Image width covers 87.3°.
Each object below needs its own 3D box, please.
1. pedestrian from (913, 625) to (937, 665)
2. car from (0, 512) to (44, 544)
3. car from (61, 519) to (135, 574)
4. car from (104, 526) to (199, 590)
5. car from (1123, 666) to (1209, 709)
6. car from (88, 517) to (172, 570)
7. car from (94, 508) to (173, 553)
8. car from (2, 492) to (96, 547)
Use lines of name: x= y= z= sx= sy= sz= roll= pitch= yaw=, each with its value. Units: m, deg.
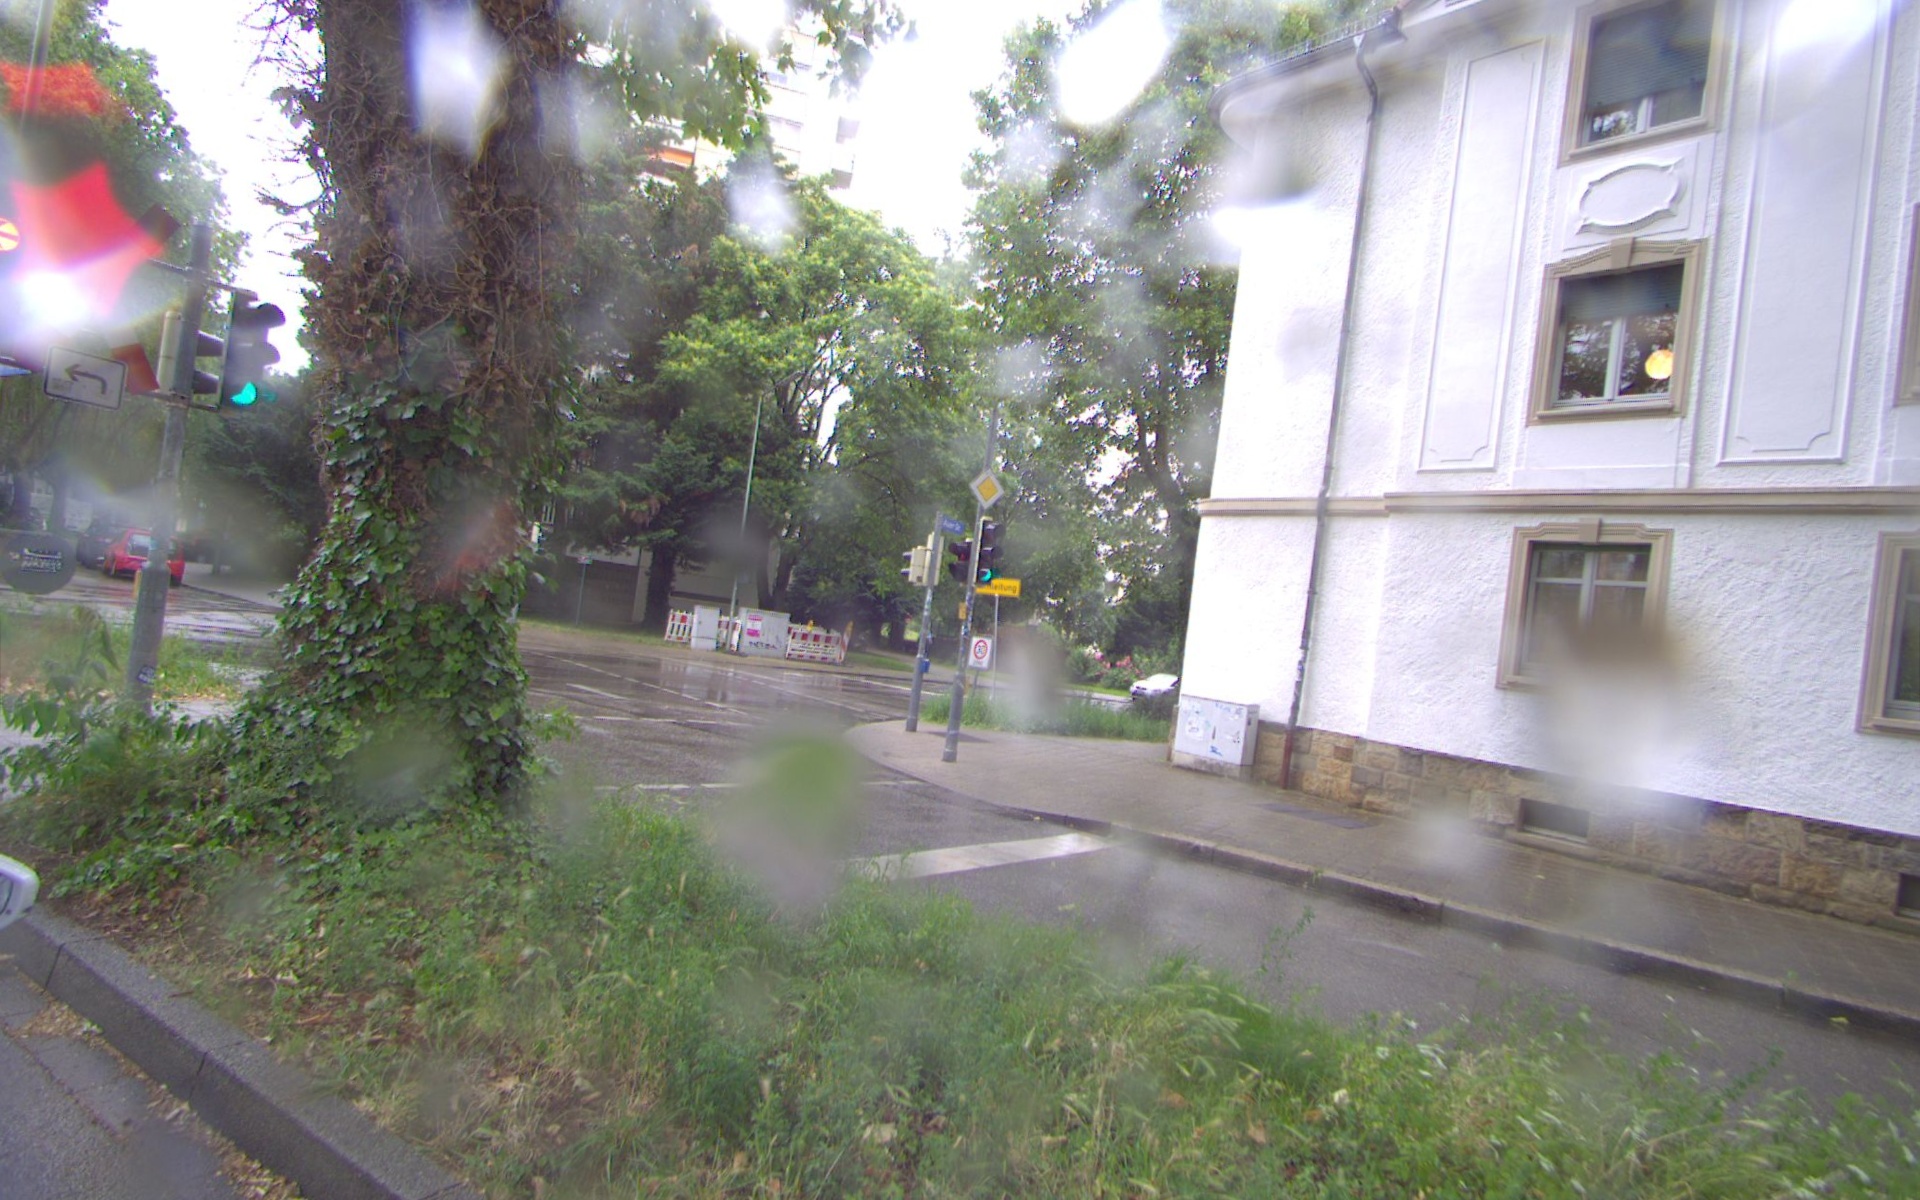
pedestrian: x=-1.730 y=2.223 z=49.684 sx=0.675 sy=1.863 sz=0.707 roll=8 pitch=-1 yaw=-44
car: x=-56.197 y=-4.372 z=58.625 sx=1.974 sy=1.565 sz=3.980 roll=6 pitch=-3 yaw=44
car: x=-32.975 y=-2.075 z=38.451 sx=1.779 sy=1.747 sz=3.951 roll=9 pitch=-2 yaw=-44
car: x=-24.823 y=-1.307 z=30.840 sx=1.788 sy=1.515 sz=3.950 roll=10 pitch=-2 yaw=-44
car: x=9.419 y=4.002 z=45.802 sx=1.829 sy=1.473 sz=3.979 roll=6 pitch=-3 yaw=45
car: x=-28.090 y=-1.935 z=33.997 sx=1.780 sy=1.363 sz=3.879 roll=10 pitch=-2 yaw=-44
car: x=-69.641 y=-5.834 z=84.811 sx=4.683 sy=2.982 sz=2.001 roll=7 pitch=-1 yaw=1
car: x=-61.103 y=-5.385 z=67.530 sx=4.680 sy=2.982 sz=2.043 roll=7 pitch=-1 yaw=12
